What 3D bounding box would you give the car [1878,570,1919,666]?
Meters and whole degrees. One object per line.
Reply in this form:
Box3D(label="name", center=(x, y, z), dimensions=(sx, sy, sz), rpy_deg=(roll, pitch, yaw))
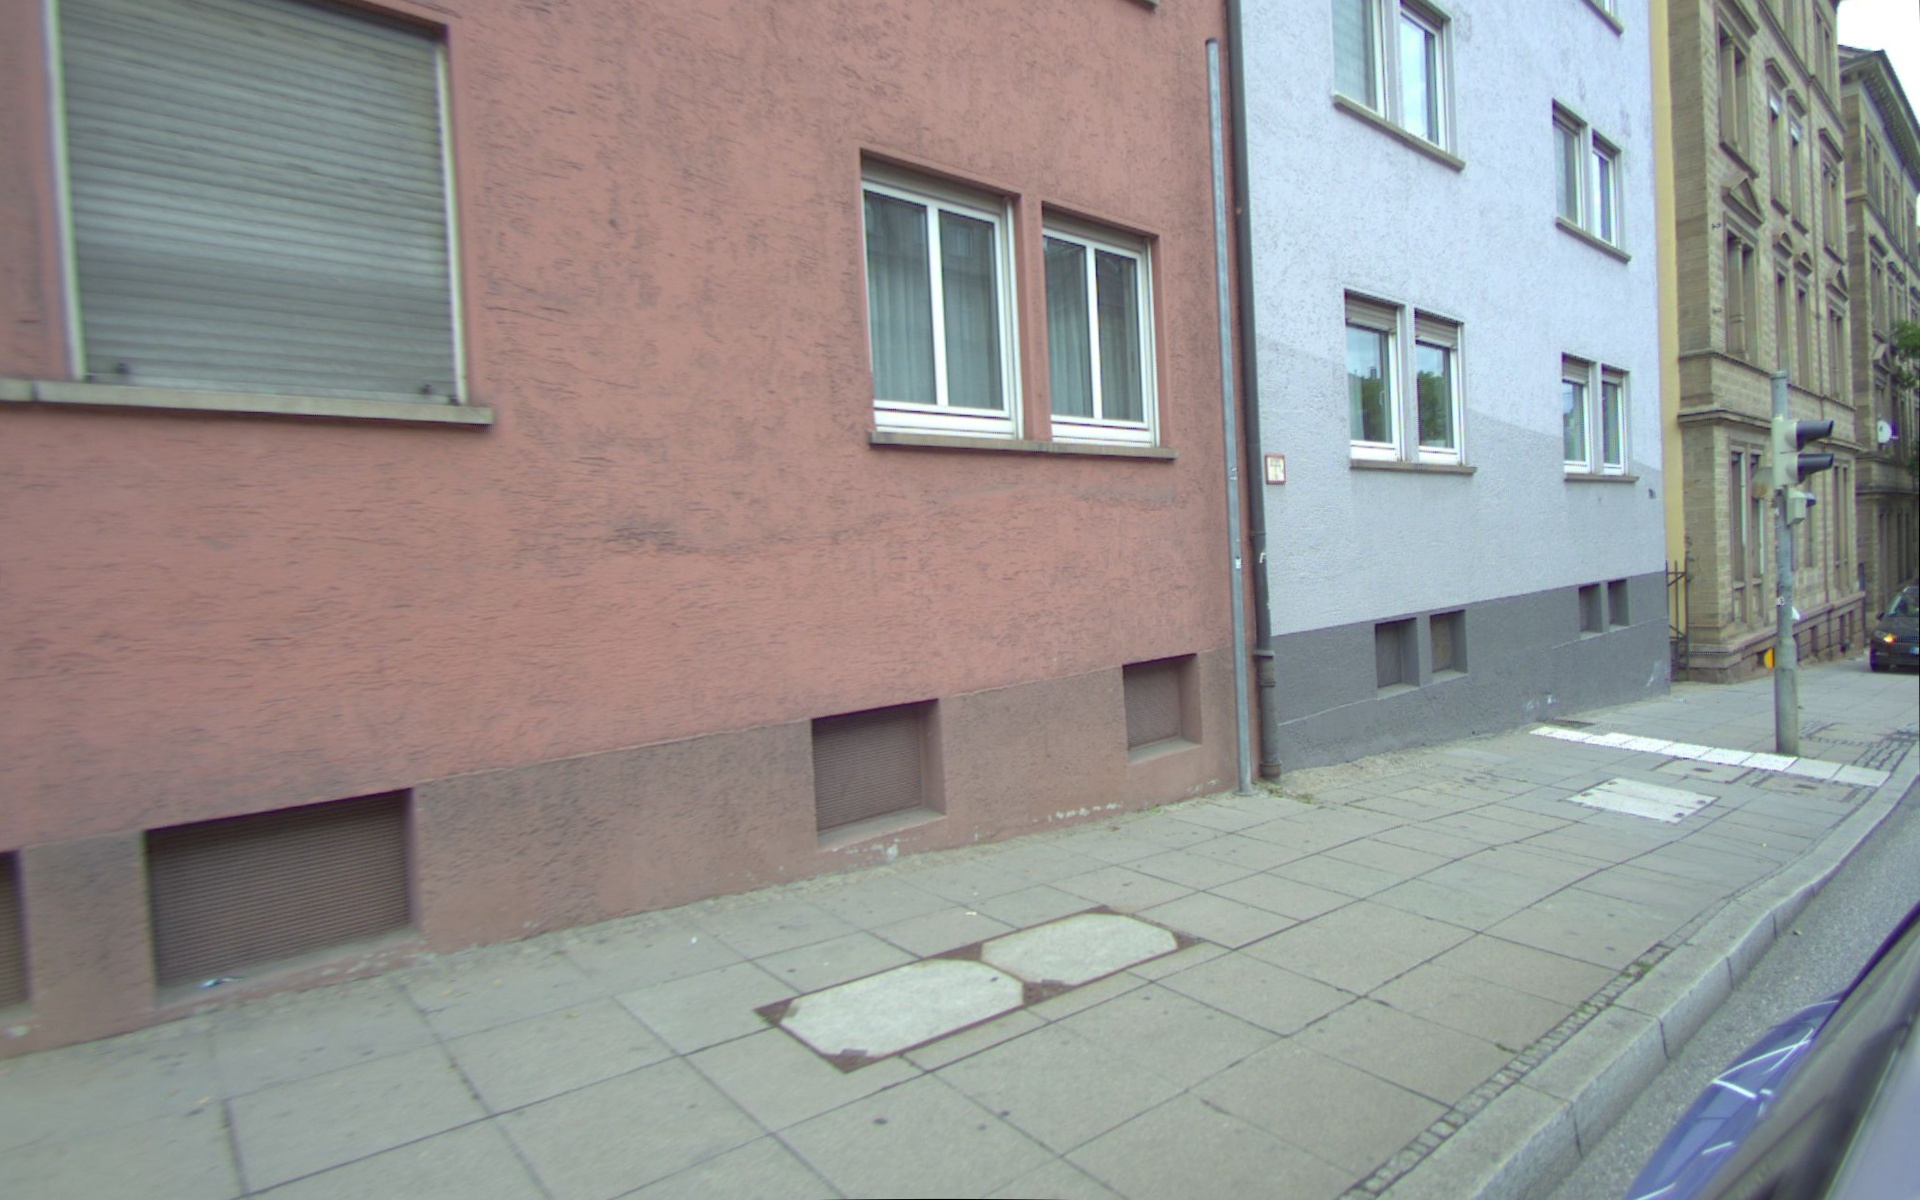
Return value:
Box3D(label="car", center=(19.152, 0.327, 19.304), dimensions=(4.231, 1.733, 1.861), rpy_deg=(0, 1, -40))
